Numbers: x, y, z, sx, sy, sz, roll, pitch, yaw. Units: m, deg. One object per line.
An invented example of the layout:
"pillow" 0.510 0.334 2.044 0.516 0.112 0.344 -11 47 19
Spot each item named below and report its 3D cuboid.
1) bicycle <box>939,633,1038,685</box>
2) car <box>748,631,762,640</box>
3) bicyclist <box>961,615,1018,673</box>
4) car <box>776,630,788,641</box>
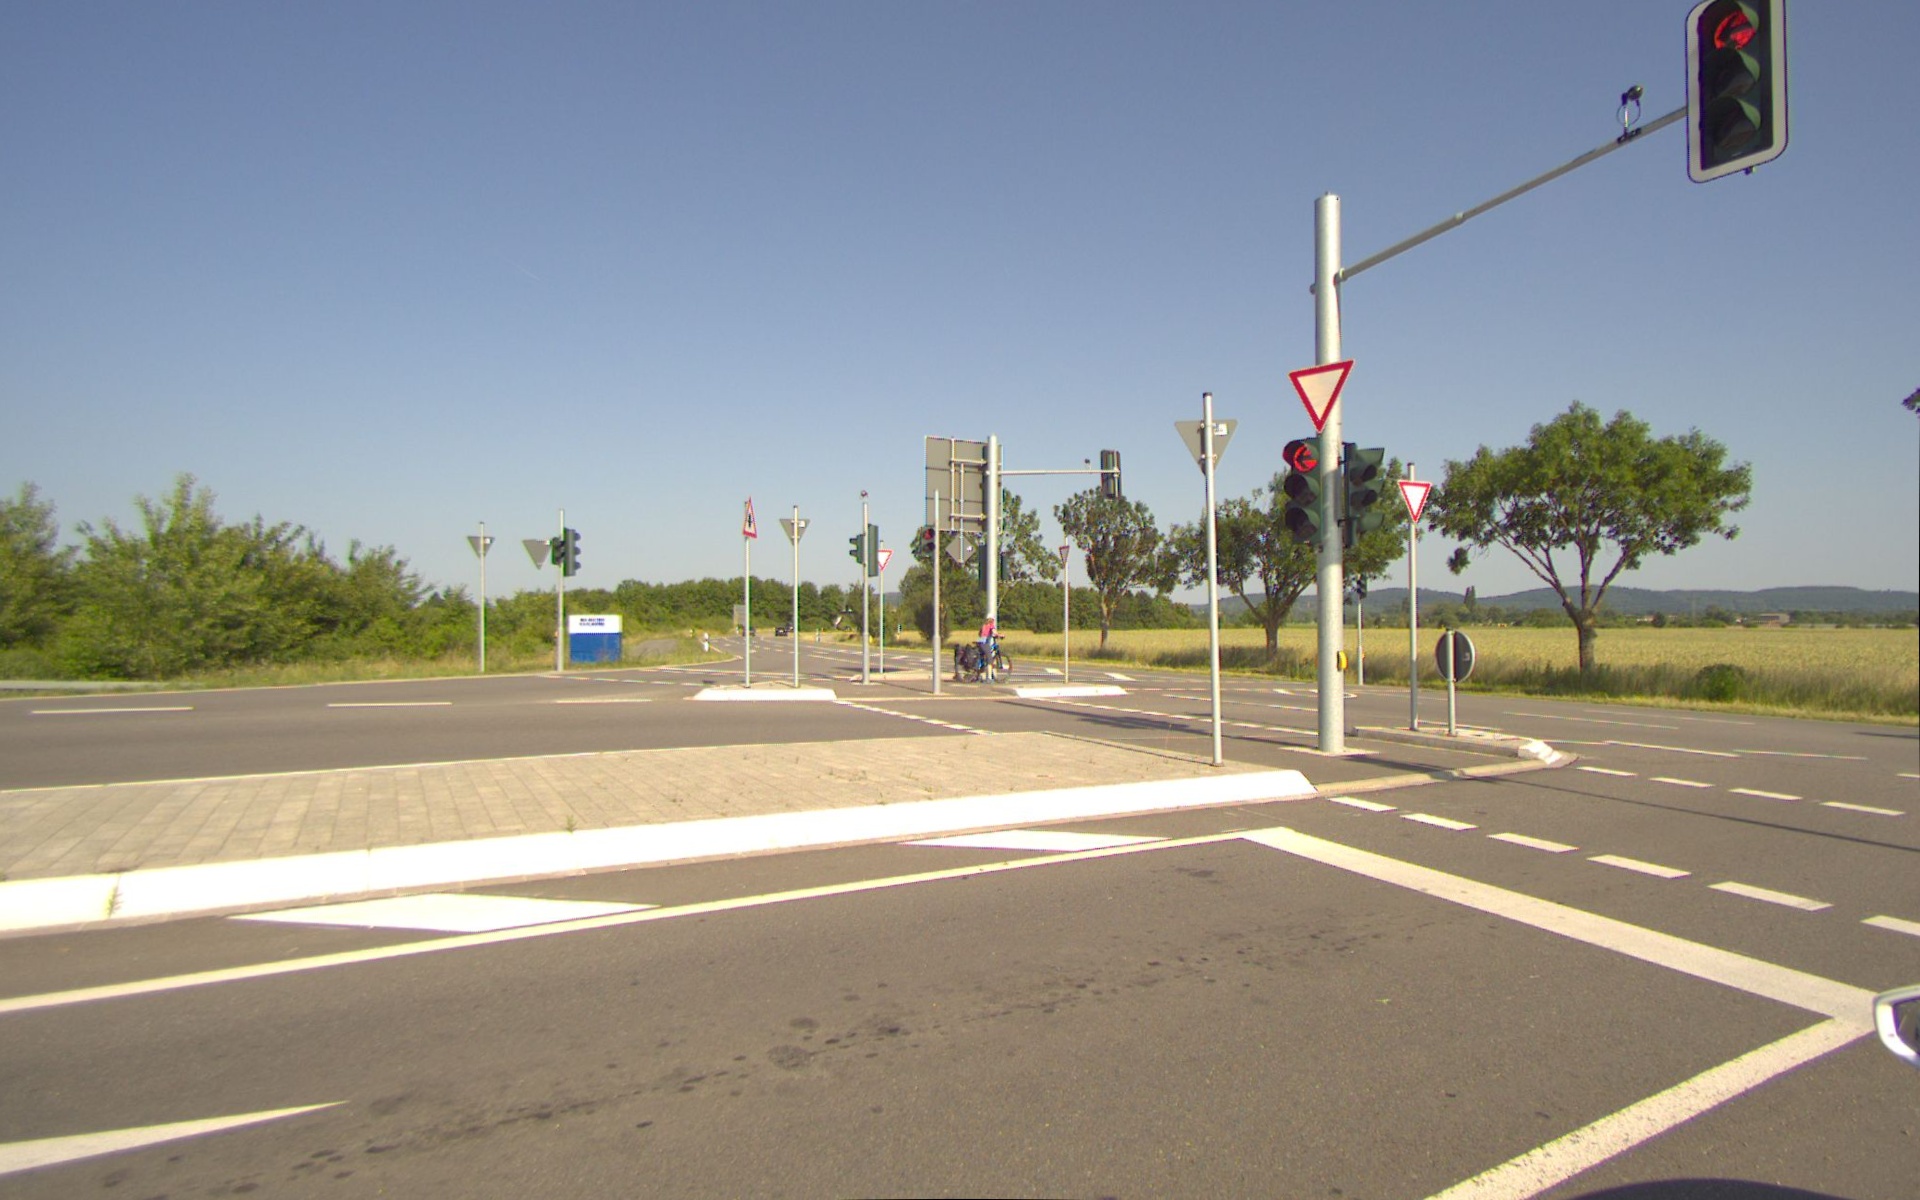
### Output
"bicycle" 0.696 1.429 24.313 2.126 1.164 1.065 3 -1 -31
"car" -28.305 4.916 138.521 1.709 1.127 3.994 2 -2 -9
"bicyclist" 0.714 1.062 24.369 1.062 1.369 0.851 2 -1 -31
"car" -26.846 5.352 151.507 1.697 1.544 3.464 2 -1 -8
